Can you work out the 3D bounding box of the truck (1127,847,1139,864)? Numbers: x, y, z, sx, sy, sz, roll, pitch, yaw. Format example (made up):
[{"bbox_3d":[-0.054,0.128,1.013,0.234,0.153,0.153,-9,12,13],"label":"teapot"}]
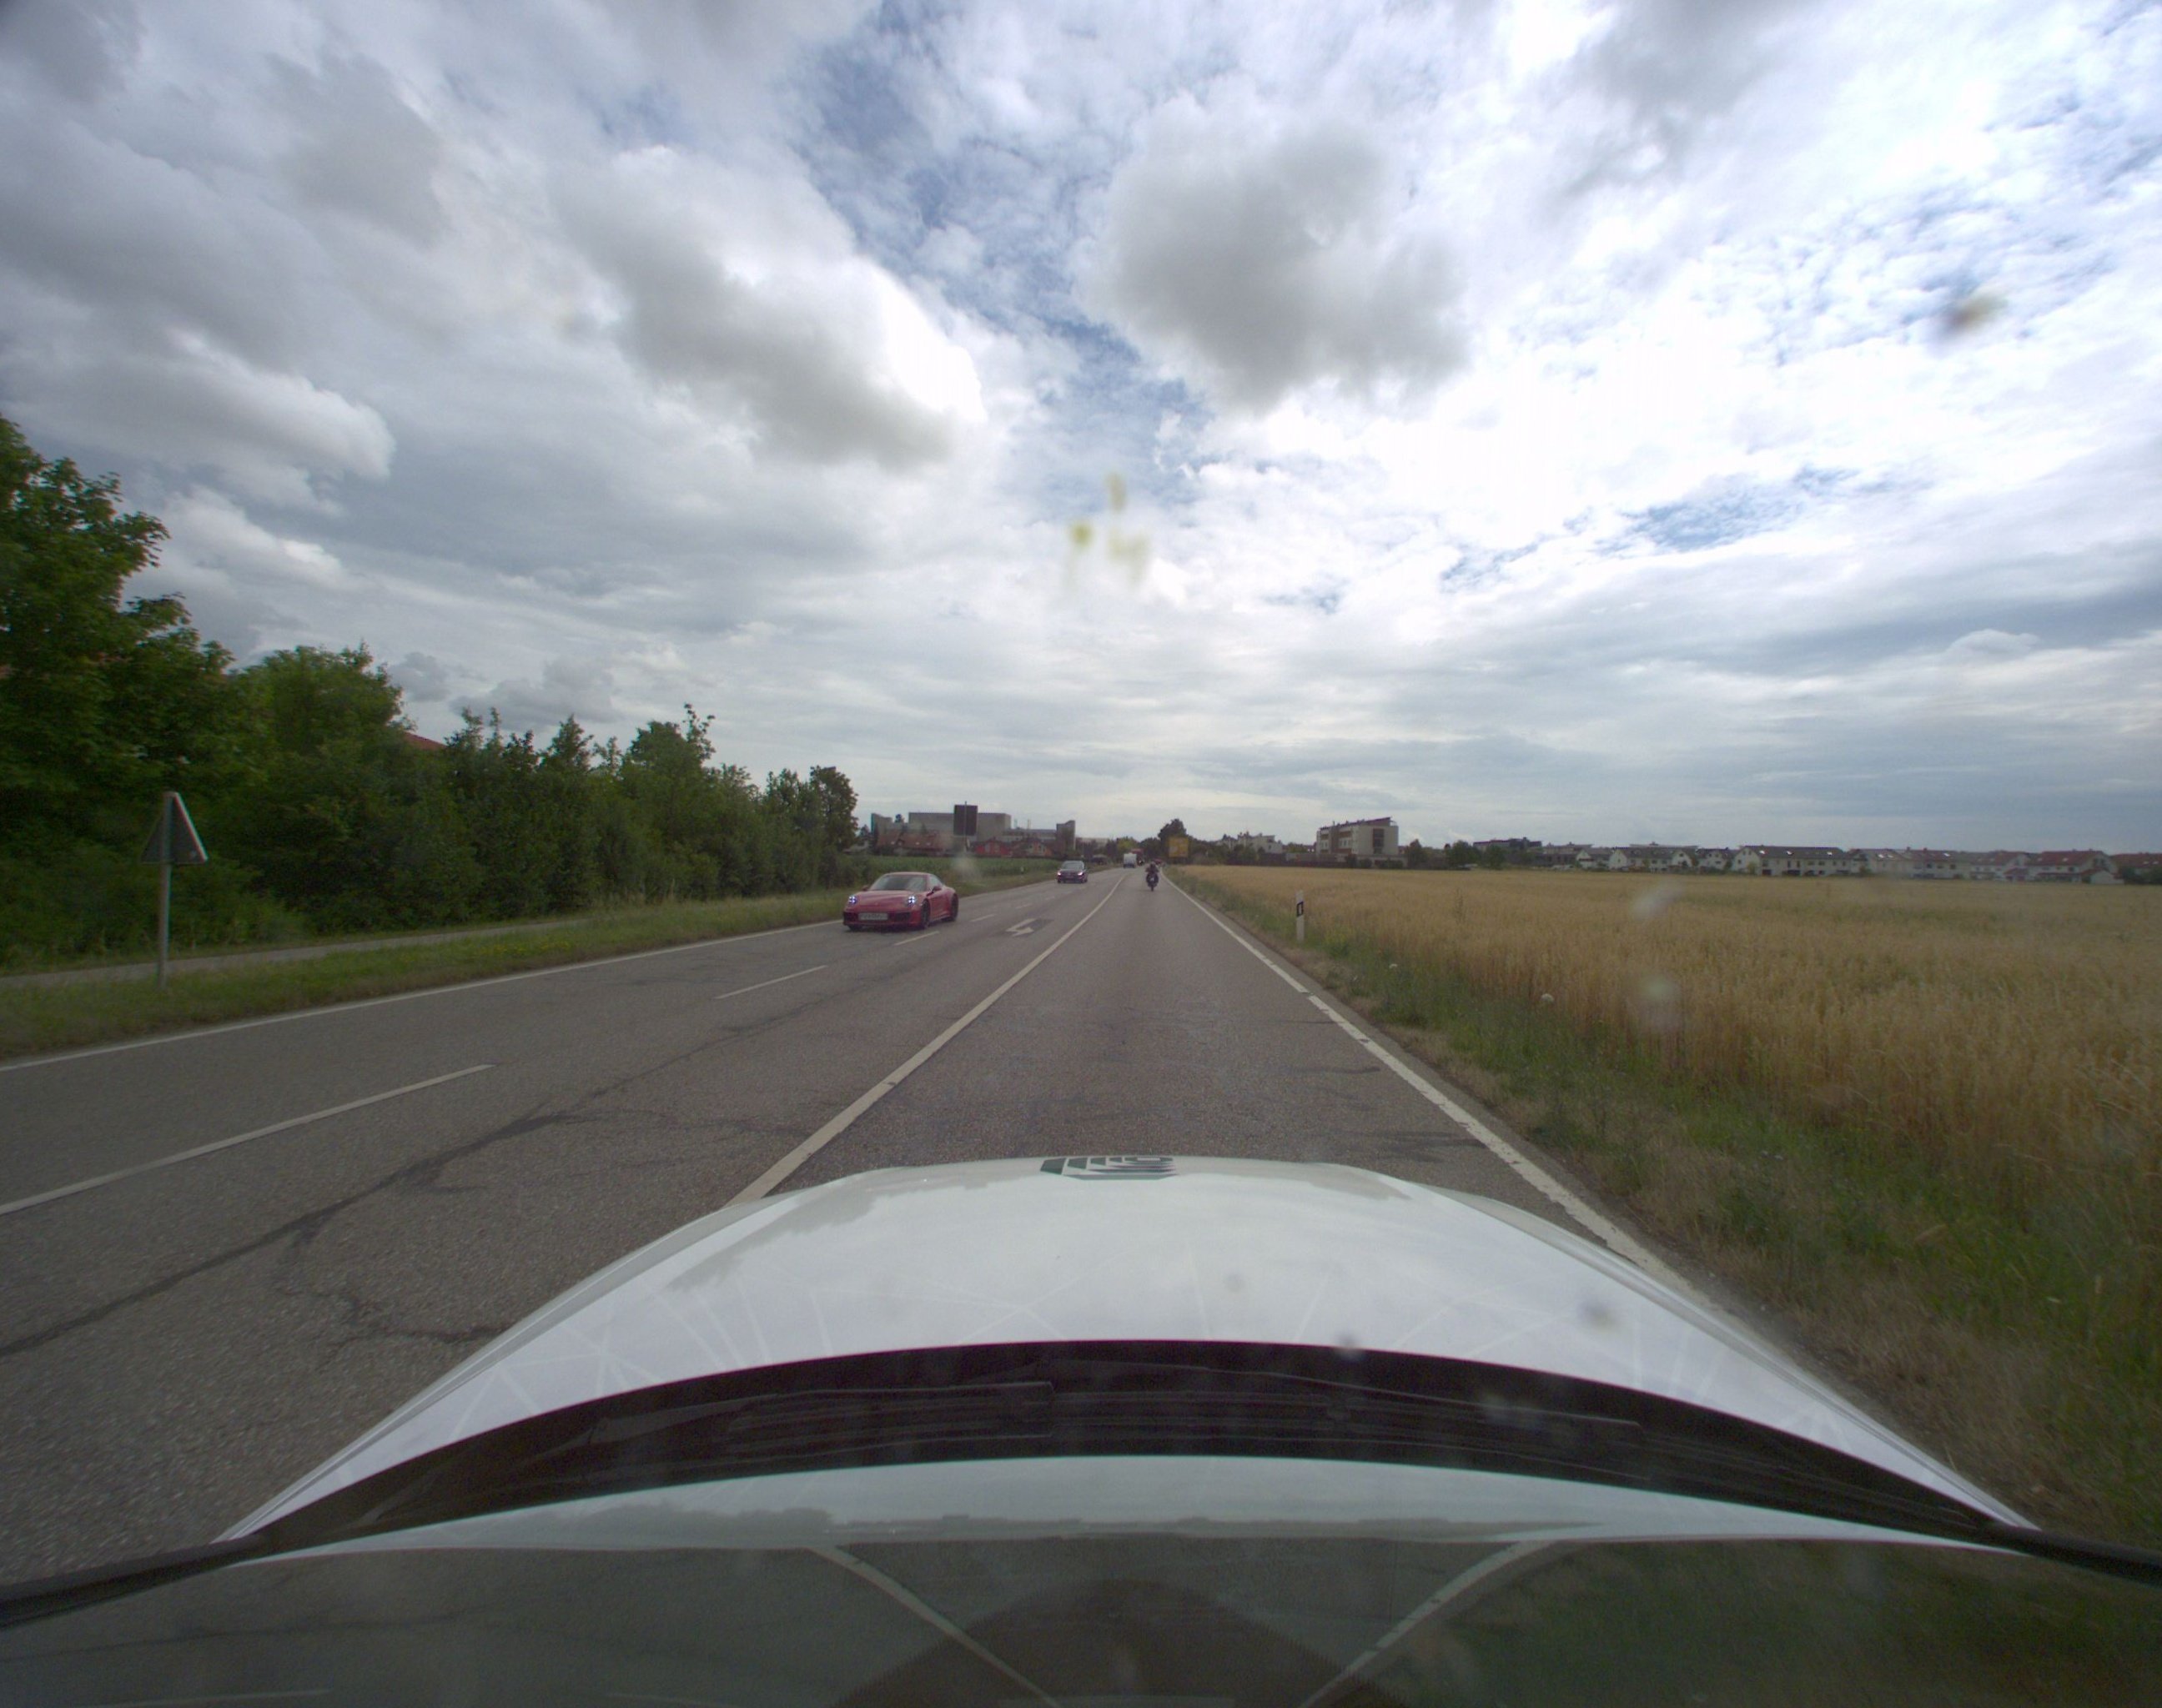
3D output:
[{"bbox_3d":[12.367,0.300,192.964,2.716,3.987,6.827,0,-1,6],"label":"truck"}]

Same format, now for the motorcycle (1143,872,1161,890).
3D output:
[{"bbox_3d":[3.853,1.441,44.129,0.936,0.890,2.149,1,-1,5],"label":"motorcycle"}]

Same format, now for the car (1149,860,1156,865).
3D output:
[{"bbox_3d":[19.067,2.301,217.922,1.846,1.472,4.006,1,0,5],"label":"car"}]

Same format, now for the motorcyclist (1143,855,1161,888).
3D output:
[{"bbox_3d":[3.857,0.946,44.084,0.937,1.750,1.202,1,-1,5],"label":"motorcyclist"}]

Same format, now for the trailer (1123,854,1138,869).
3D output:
[{"bbox_3d":[9.276,1.356,151.331,2.312,2.729,7.855,1,0,6],"label":"trailer"}]

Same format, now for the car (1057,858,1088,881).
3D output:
[{"bbox_3d":[-0.546,1.030,55.309,1.661,1.429,4.308,-1,-1,5],"label":"car"}]

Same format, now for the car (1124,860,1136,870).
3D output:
[{"bbox_3d":[8.717,1.963,145.545,1.984,1.699,4.682,1,0,5],"label":"car"}]

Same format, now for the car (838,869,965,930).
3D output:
[{"bbox_3d":[-4.212,1.017,19.791,1.762,1.241,4.218,0,0,6],"label":"car"}]
